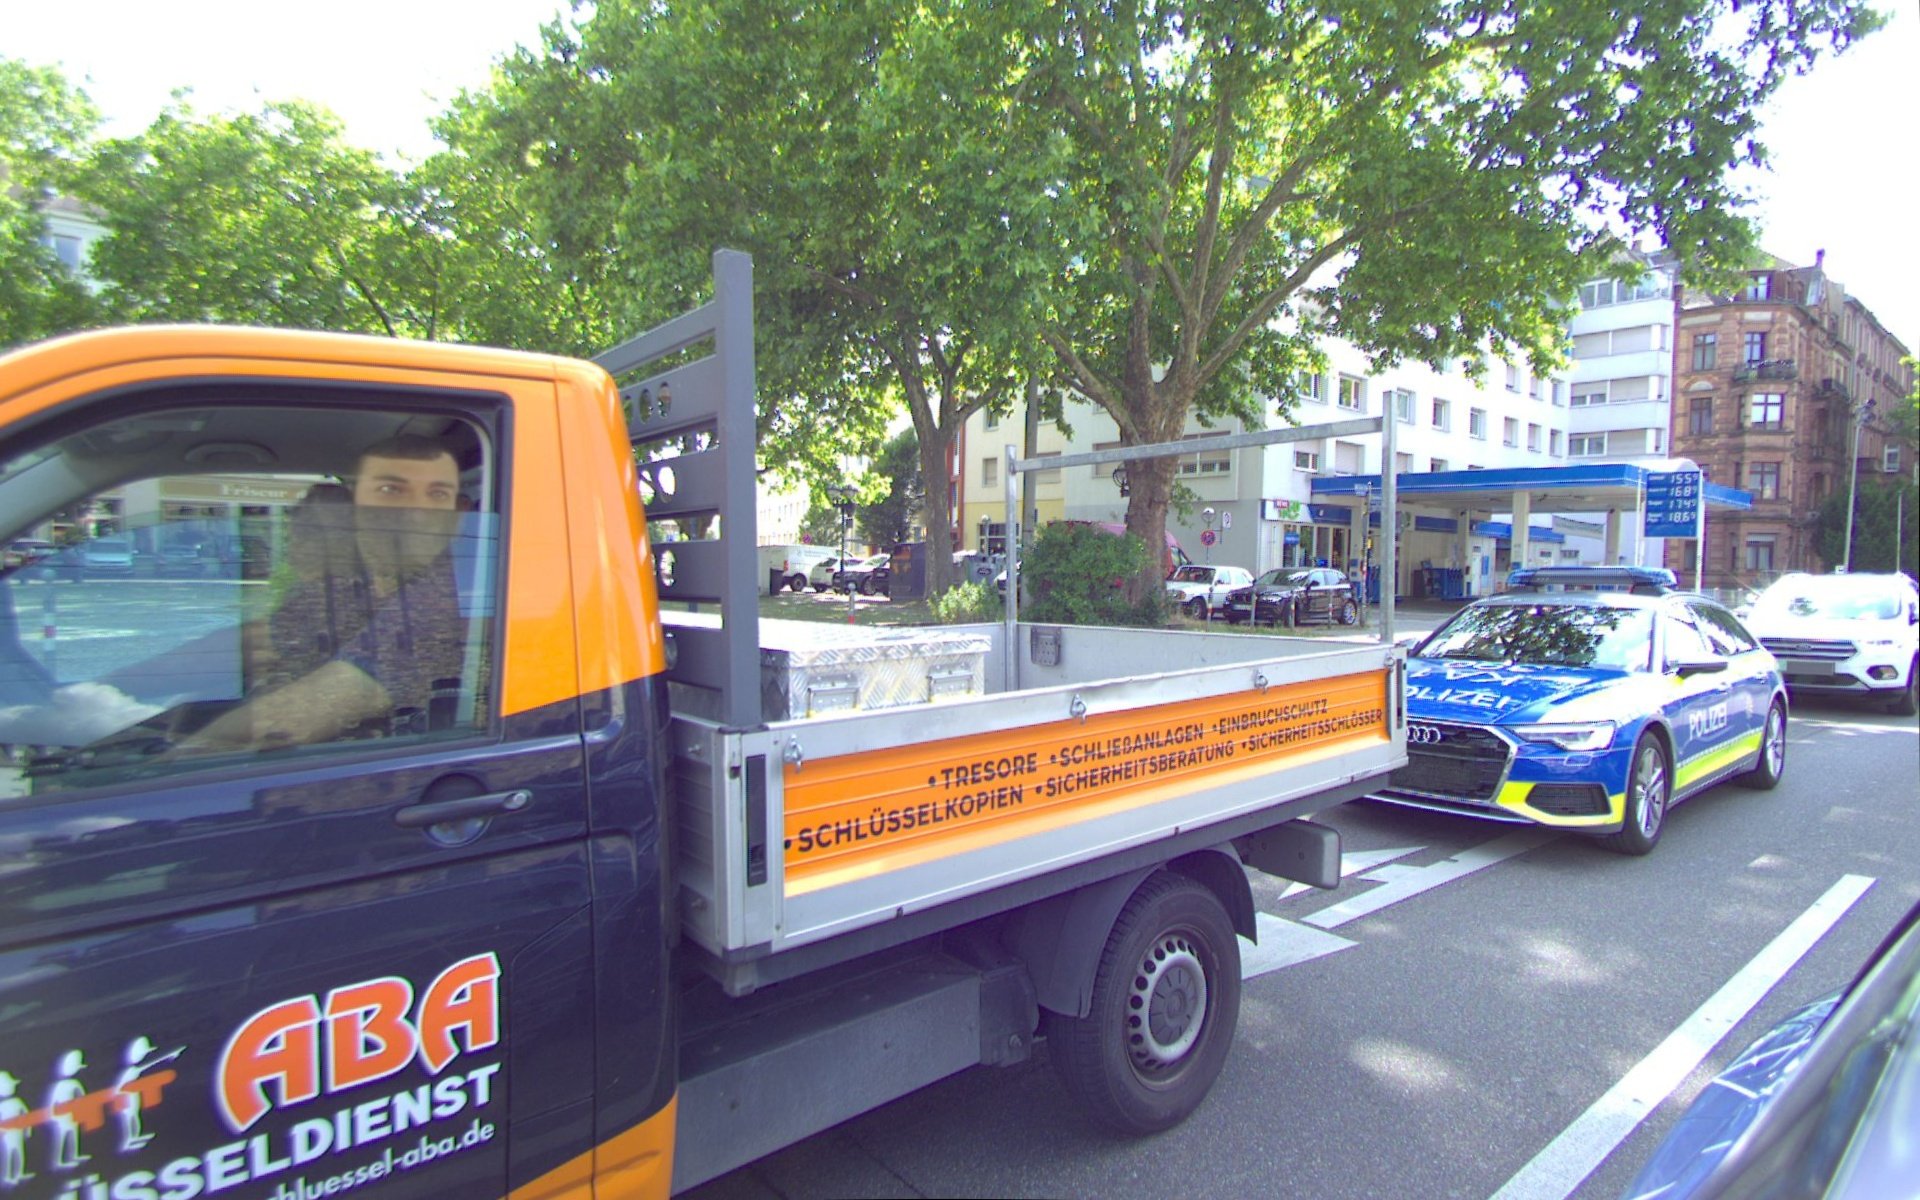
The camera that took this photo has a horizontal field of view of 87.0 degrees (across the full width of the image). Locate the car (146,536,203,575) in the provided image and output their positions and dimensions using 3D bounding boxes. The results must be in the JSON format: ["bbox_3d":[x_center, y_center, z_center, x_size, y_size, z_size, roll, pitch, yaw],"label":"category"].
[{"bbox_3d":[-36.208,-2.076,46.636,1.820,1.679,4.077,-1,3,-42],"label":"car"}]

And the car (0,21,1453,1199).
[{"bbox_3d":[-1.030,0.302,2.500,5.242,2.010,2.079,-3,4,-40],"label":"car"}]

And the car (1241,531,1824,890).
[{"bbox_3d":[4.245,0.458,7.052,5.062,1.673,1.871,-1,2,-40],"label":"car"}]

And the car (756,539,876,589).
[{"bbox_3d":[-5.914,-1.458,41.947,4.601,1.959,1.997,-1,1,-41],"label":"car"}]

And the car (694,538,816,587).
[{"bbox_3d":[-9.252,-1.646,45.988,5.168,2.113,1.995,-1,1,-45],"label":"car"}]

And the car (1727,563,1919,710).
[{"bbox_3d":[11.865,0.367,13.388,4.596,1.626,1.764,0,2,-40],"label":"car"}]

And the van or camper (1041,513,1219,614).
[{"bbox_3d":[4.966,-1.004,29.180,5.252,2.674,2.107,-1,0,-38],"label":"van or camper"}]

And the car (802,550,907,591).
[{"bbox_3d":[-4.165,-1.140,40.160,3.930,1.539,1.661,-1,1,-41],"label":"car"}]

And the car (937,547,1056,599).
[{"bbox_3d":[1.237,-0.873,33.263,3.930,1.624,1.528,-1,2,-41],"label":"car"}]

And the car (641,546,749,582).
[{"bbox_3d":[-13.776,-1.852,52.862,5.165,1.773,1.899,-1,1,-43],"label":"car"}]

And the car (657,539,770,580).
[{"bbox_3d":[-12.160,-1.965,50.219,5.165,1.896,1.996,-1,1,-43],"label":"car"}]

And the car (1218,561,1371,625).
[{"bbox_3d":[8.191,-0.206,24.632,3.930,1.428,1.756,-1,2,-41],"label":"car"}]

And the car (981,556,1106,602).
[{"bbox_3d":[2.593,-0.624,30.909,3.930,1.310,1.476,-1,1,-41],"label":"car"}]

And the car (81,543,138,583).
[{"bbox_3d":[-37.952,-1.676,45.132,1.820,1.679,4.077,-1,3,-42],"label":"car"}]

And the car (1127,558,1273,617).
[{"bbox_3d":[6.368,-0.352,26.660,3.930,1.428,1.756,-1,2,-41],"label":"car"}]

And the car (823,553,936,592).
[{"bbox_3d":[-2.973,-0.987,37.690,3.930,1.381,1.765,-1,1,-41],"label":"car"}]

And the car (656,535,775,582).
[{"bbox_3d":[-11.454,-1.903,47.687,5.164,2.113,1.996,-1,1,-42],"label":"car"}]

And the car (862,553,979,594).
[{"bbox_3d":[-1.360,-0.906,35.790,3.930,1.381,1.765,-1,1,-41],"label":"car"}]

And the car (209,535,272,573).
[{"bbox_3d":[-34.311,-2.204,48.229,2.047,1.679,4.077,-1,3,-42],"label":"car"}]
